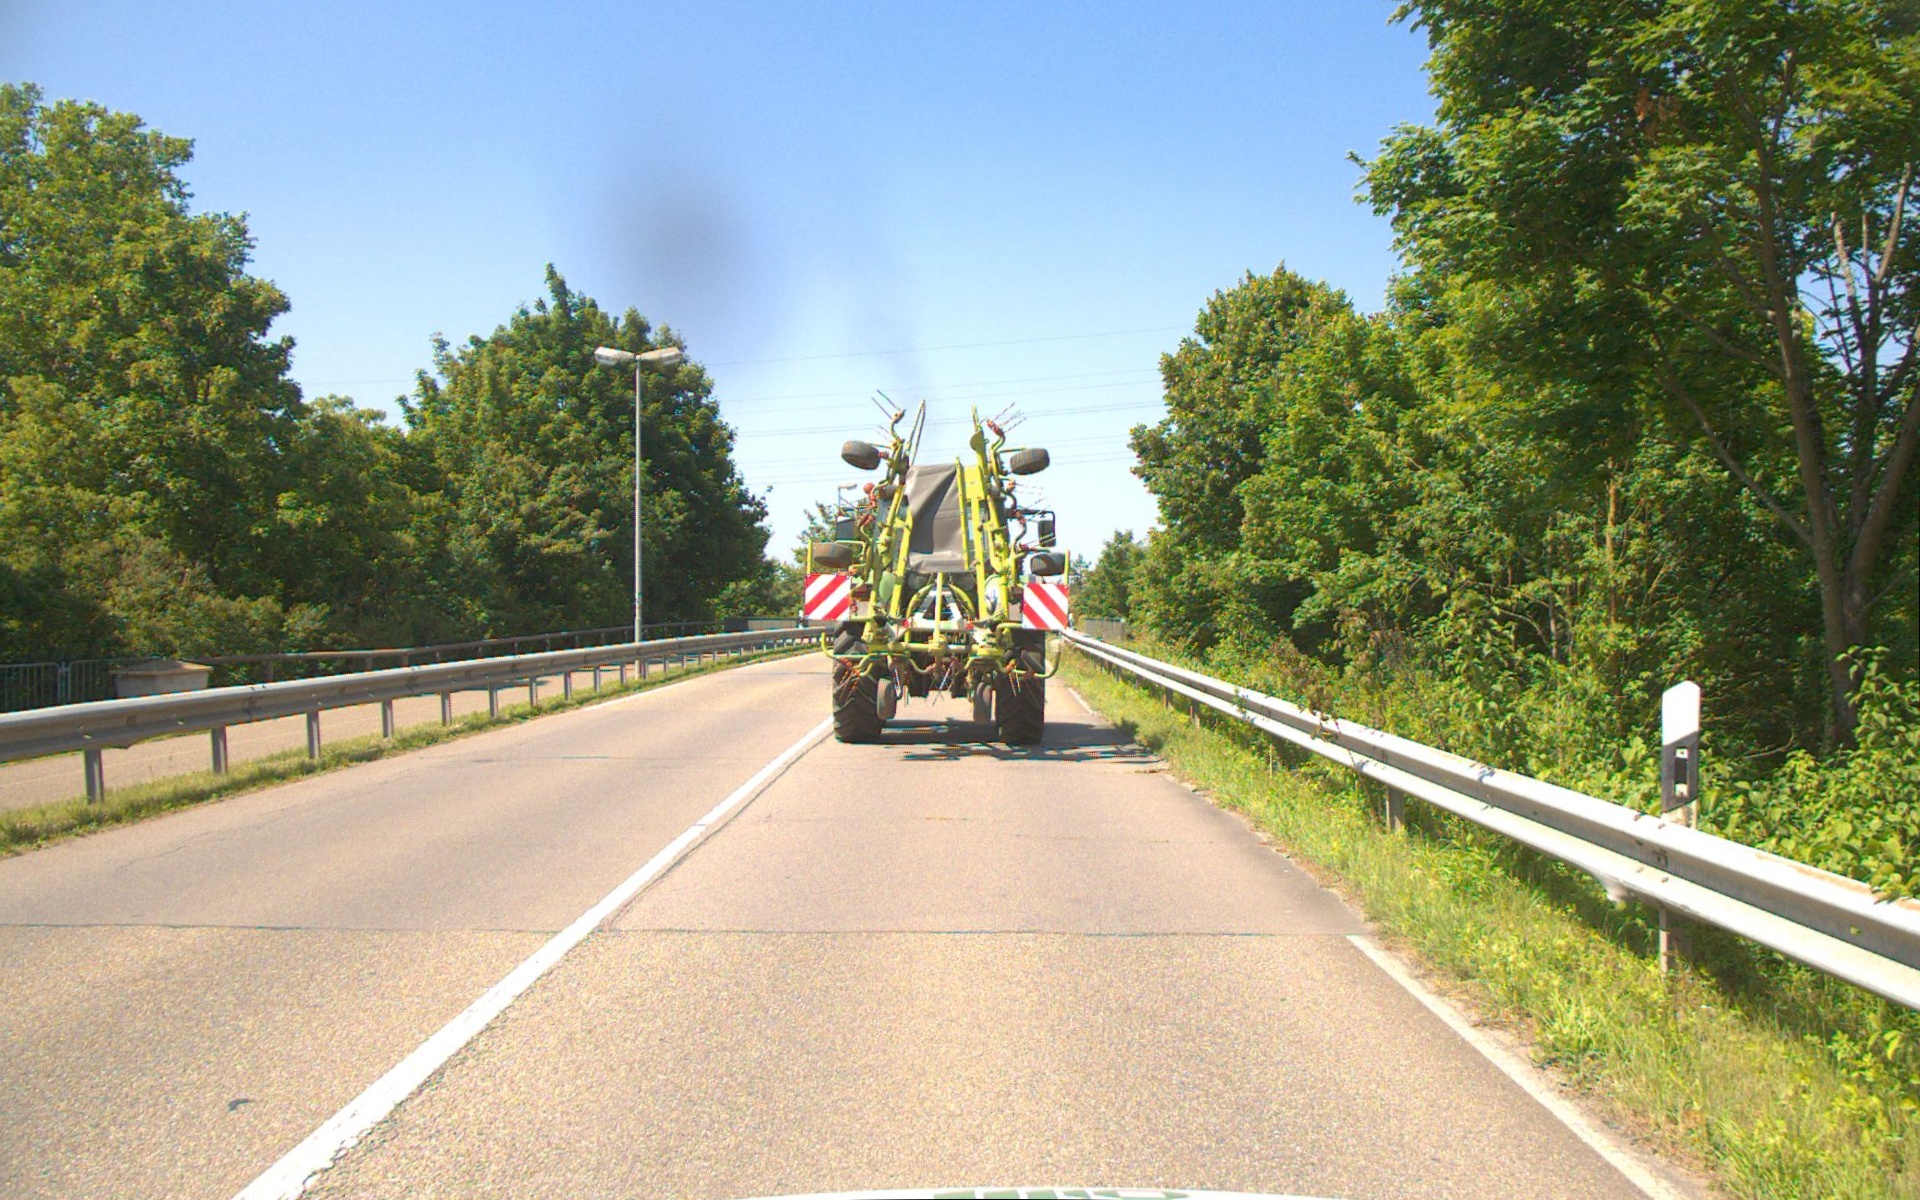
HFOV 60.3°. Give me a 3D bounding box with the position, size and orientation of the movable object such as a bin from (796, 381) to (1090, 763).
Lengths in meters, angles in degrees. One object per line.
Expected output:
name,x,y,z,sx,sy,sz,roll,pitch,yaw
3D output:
movable object such as a bin,-0.169,-0.259,18.023,2.699,3.504,5.669,0,0,0
